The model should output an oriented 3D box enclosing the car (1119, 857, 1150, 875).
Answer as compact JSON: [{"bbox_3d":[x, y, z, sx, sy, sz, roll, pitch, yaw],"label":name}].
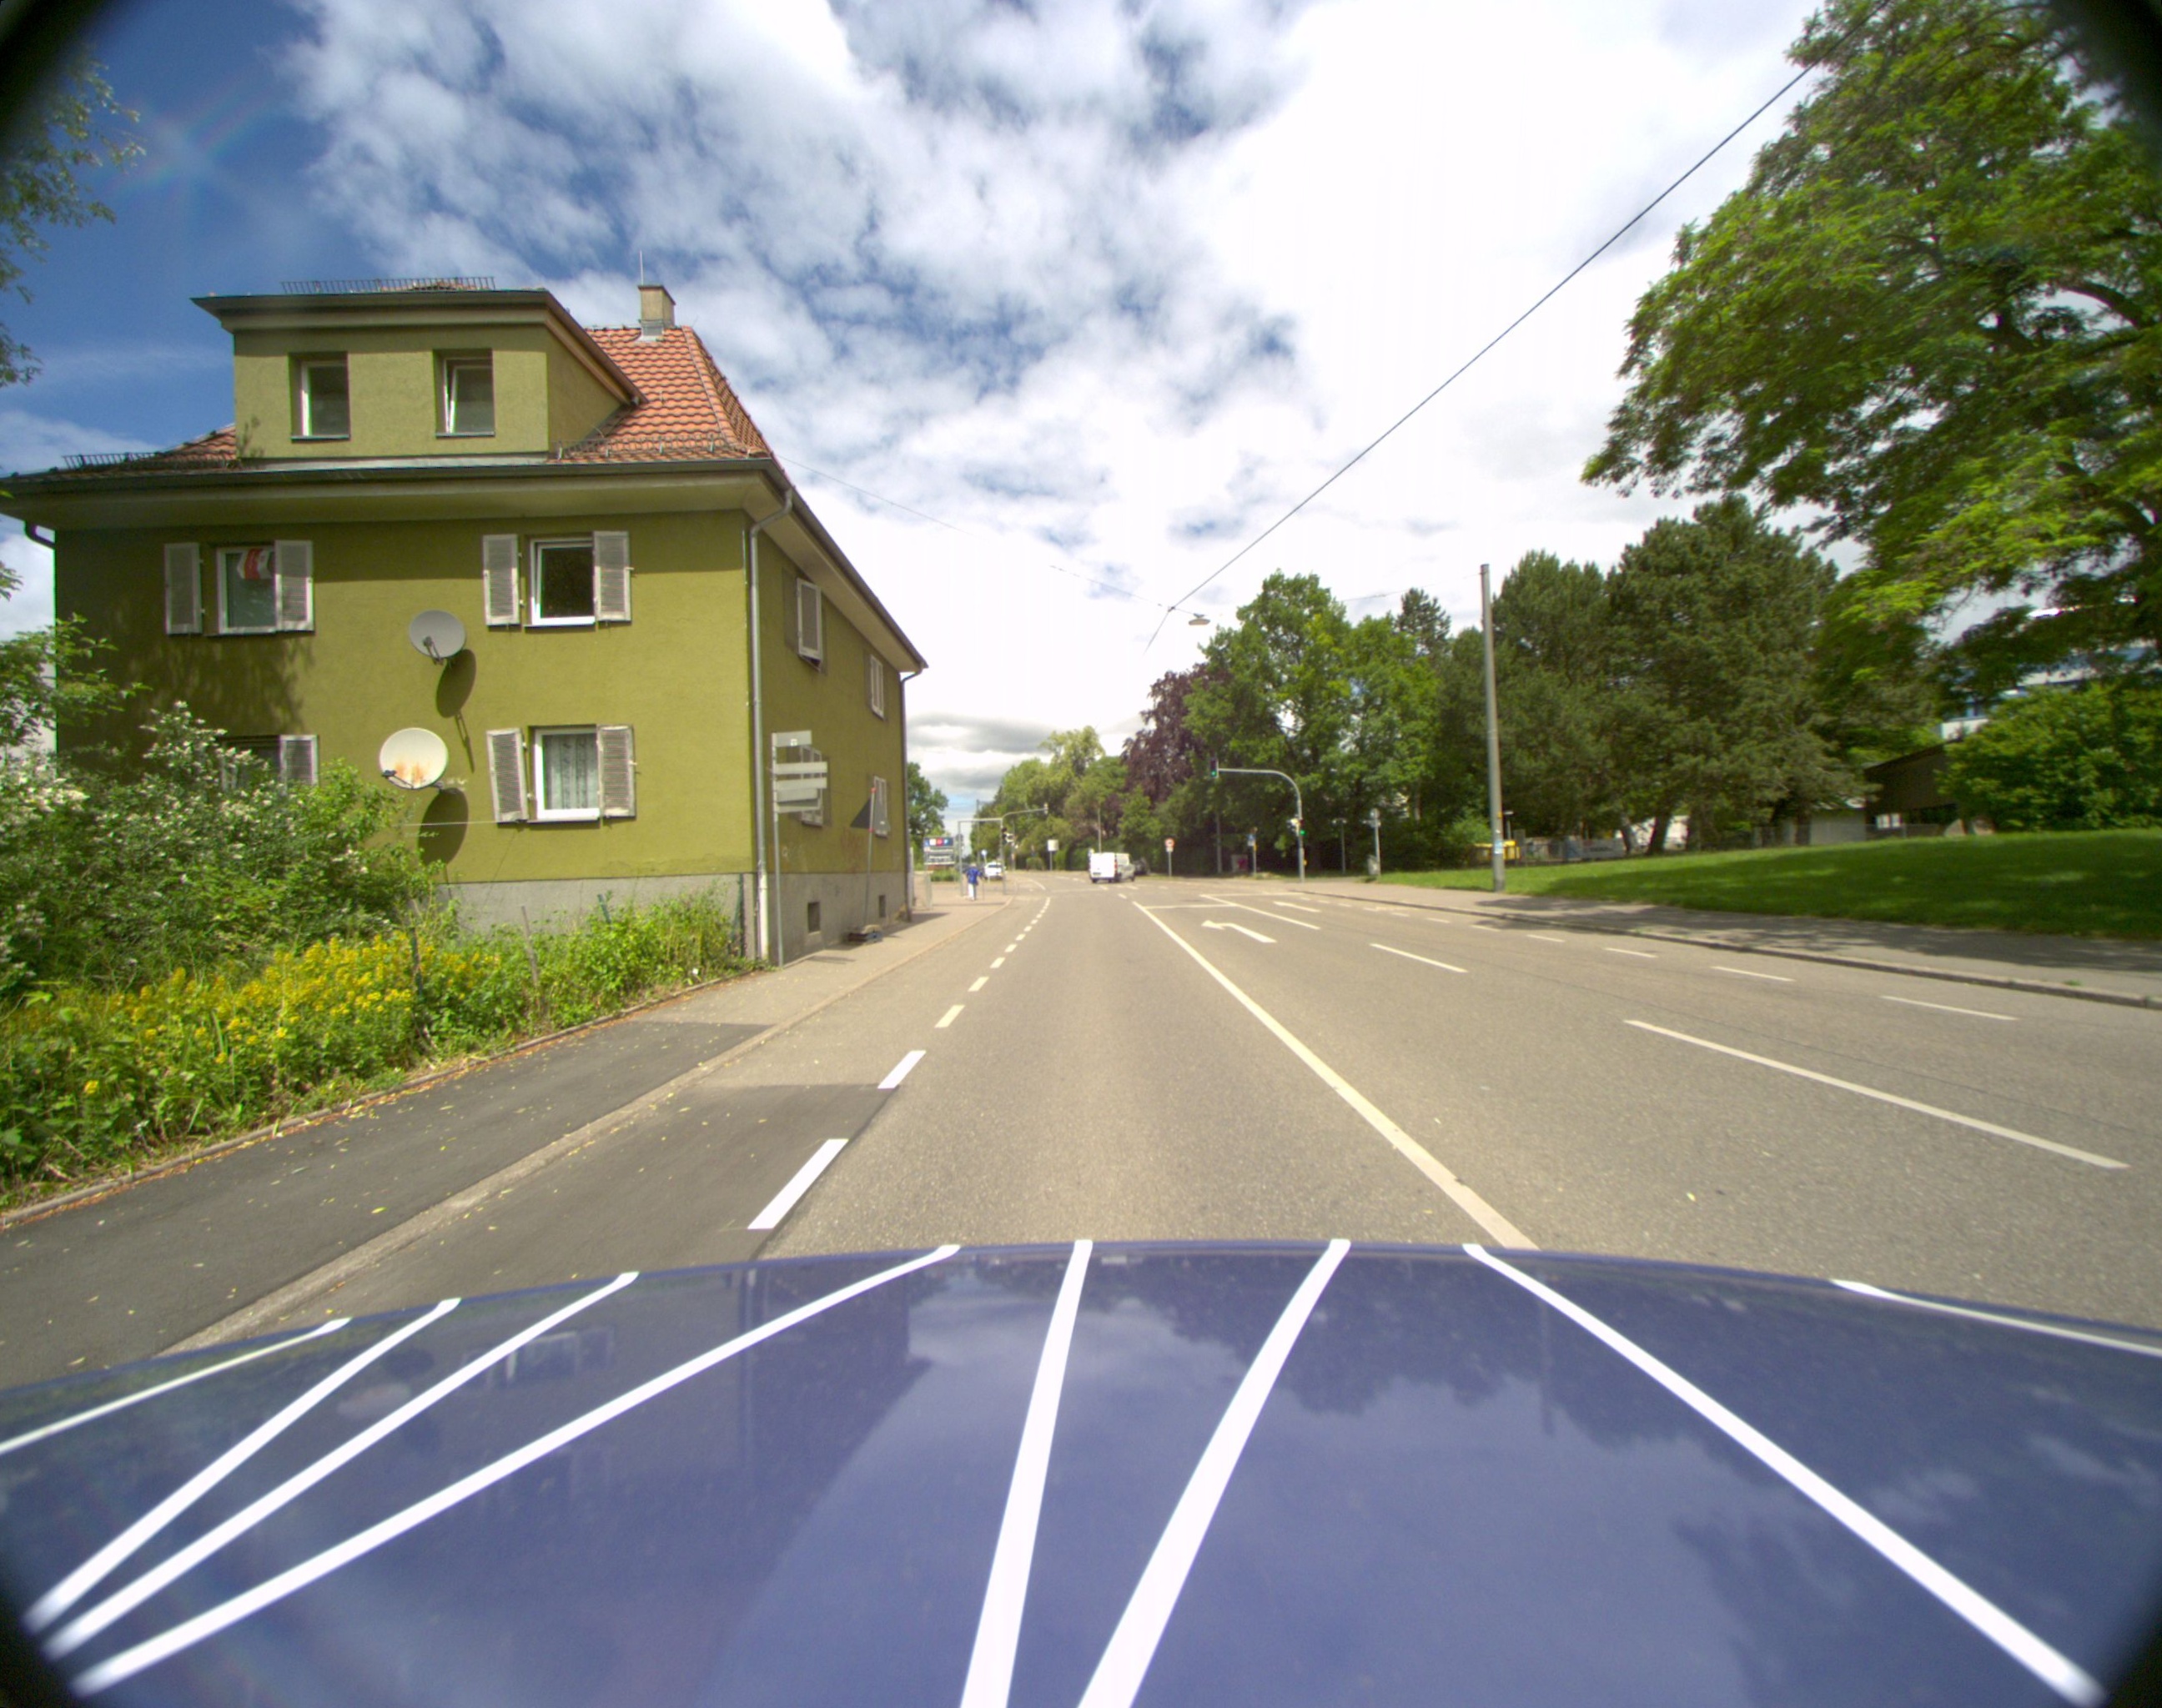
[{"bbox_3d":[4.646,0.996,66.773,1.688,1.407,4.398,-3,1,-9],"label":"car"}]

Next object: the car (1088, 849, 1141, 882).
[{"bbox_3d":[2.314,0.724,50.698,1.996,2.011,5.359,-1,0,19],"label":"car"}]

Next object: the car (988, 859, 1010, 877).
[{"bbox_3d":[-7.387,1.217,67.895,1.796,1.522,3.918,0,0,-9],"label":"car"}]

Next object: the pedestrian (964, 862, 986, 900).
[{"bbox_3d":[-4.417,1.121,31.837,0.826,1.563,0.987,-1,0,-4],"label":"pedestrian"}]

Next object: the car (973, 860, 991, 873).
[{"bbox_3d":[-12.576,1.584,96.028,1.707,1.522,3.995,-3,0,-15],"label":"car"}]
